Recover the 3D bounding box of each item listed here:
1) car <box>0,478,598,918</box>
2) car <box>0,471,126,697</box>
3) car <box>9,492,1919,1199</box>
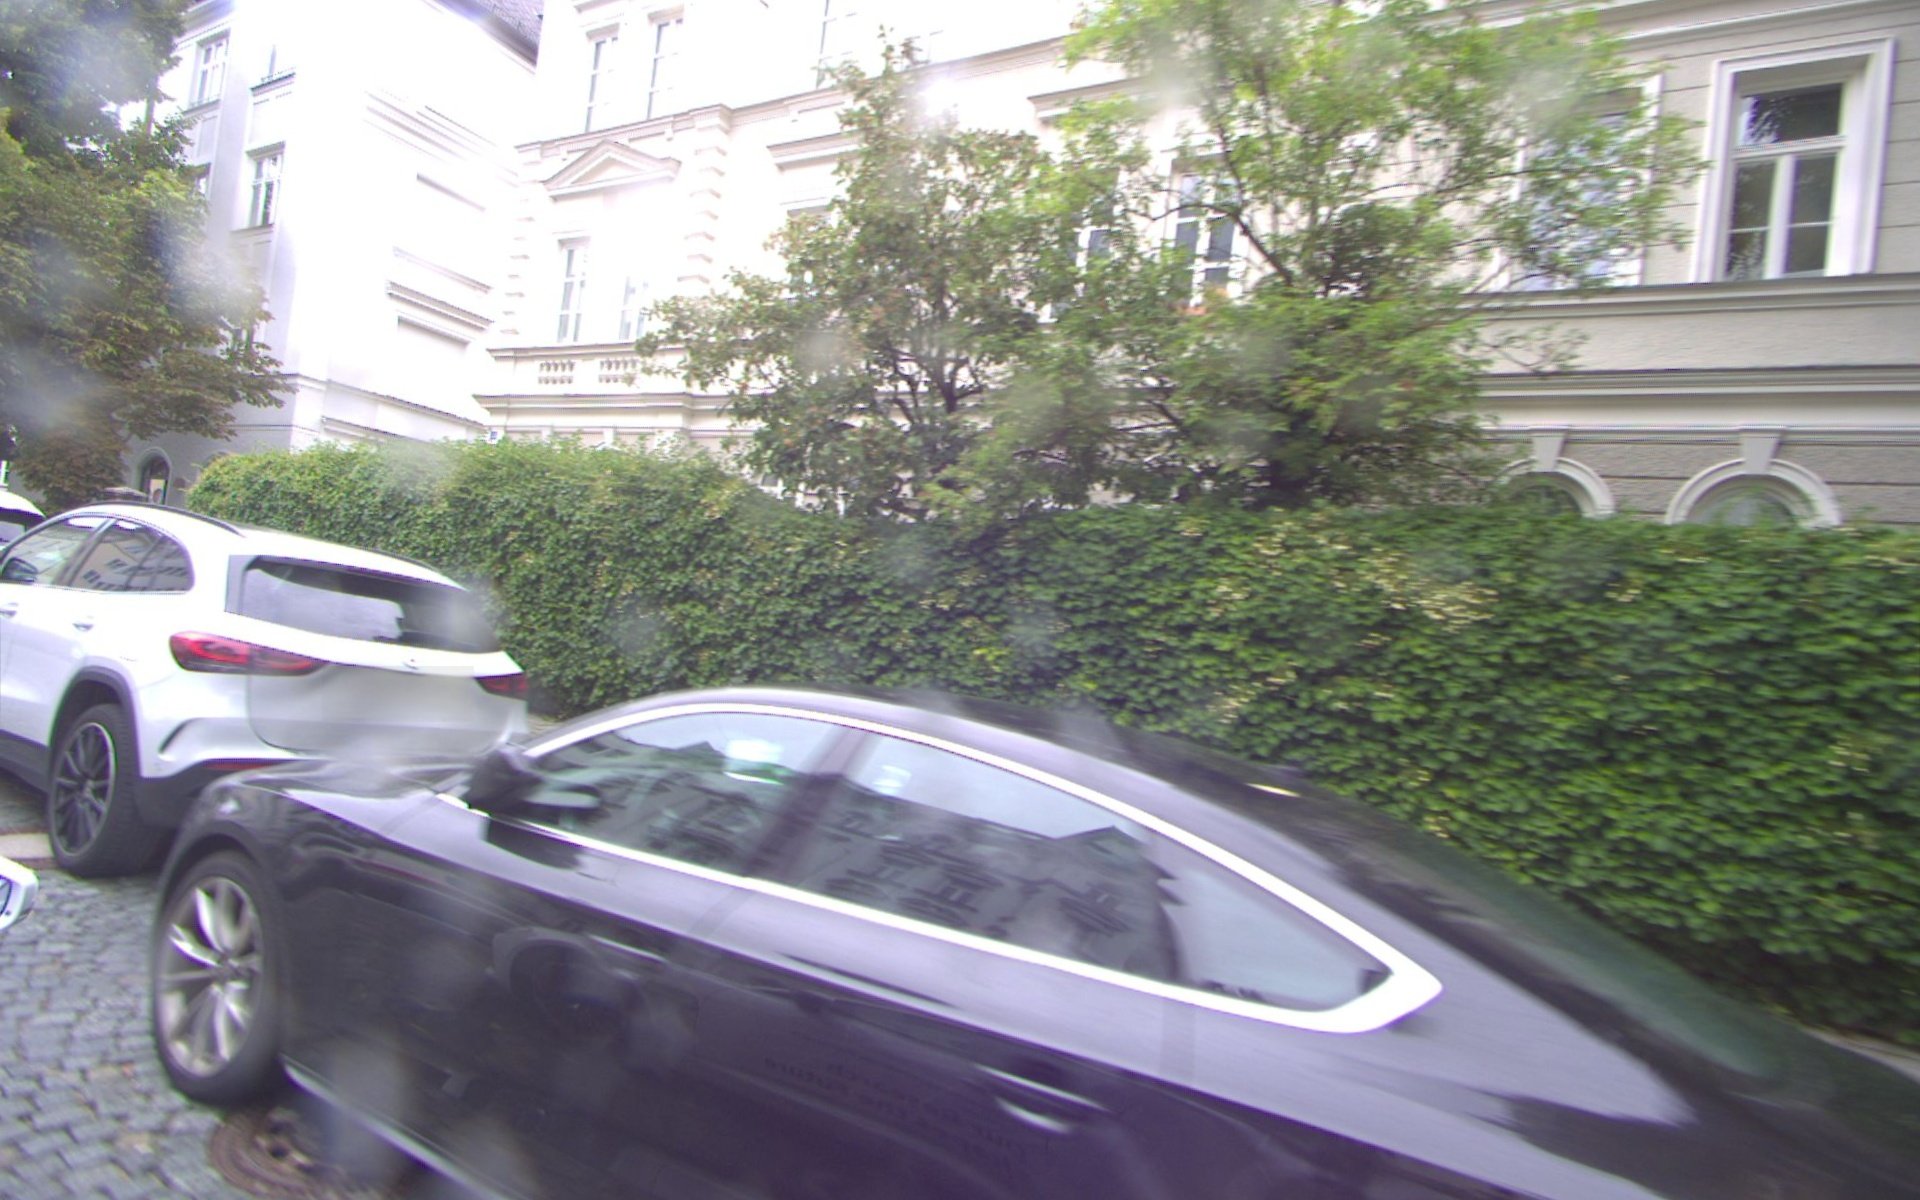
[{"bbox_3d":[-4.282,0.342,5.656,4.137,1.595,1.824,7,-5,31],"label":"car"},{"bbox_3d":[-9.699,-0.395,8.982,4.516,1.751,1.880,7,-5,31],"label":"car"},{"bbox_3d":[-0.338,0.786,2.751,4.434,1.518,1.880,7,-4,29],"label":"car"}]
